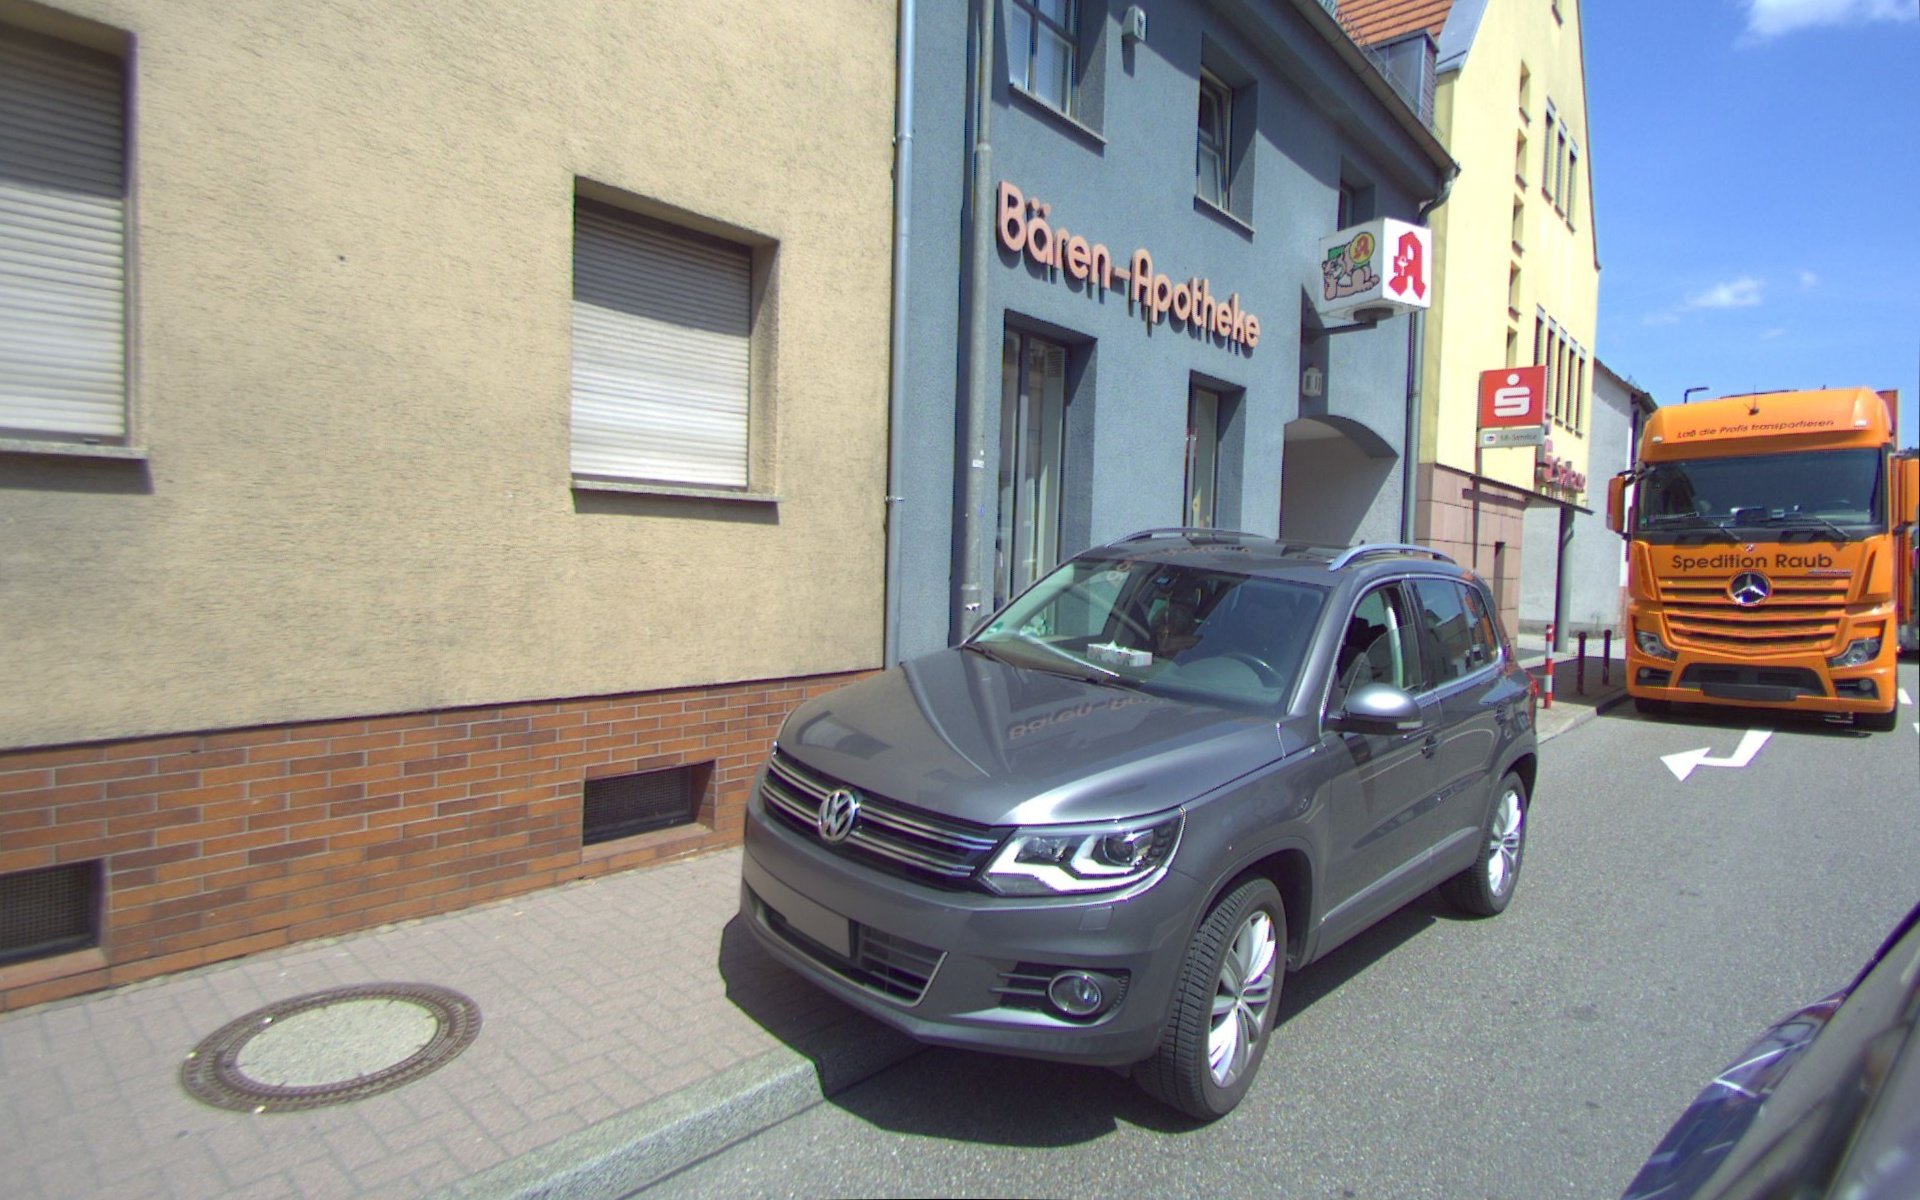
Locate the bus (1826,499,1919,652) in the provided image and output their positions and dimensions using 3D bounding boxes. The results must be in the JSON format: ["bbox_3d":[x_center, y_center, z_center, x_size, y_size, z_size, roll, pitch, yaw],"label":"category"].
[{"bbox_3d":[27.002,-0.537,28.173,2.845,3.244,18.783,2,2,36],"label":"bus"}]

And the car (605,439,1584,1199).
[{"bbox_3d":[0.904,0.434,4.249,1.995,1.729,4.035,6,5,44],"label":"car"}]

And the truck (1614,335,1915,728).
[{"bbox_3d":[12.127,-0.675,14.767,2.608,3.995,9.834,0,0,43],"label":"truck"}]
